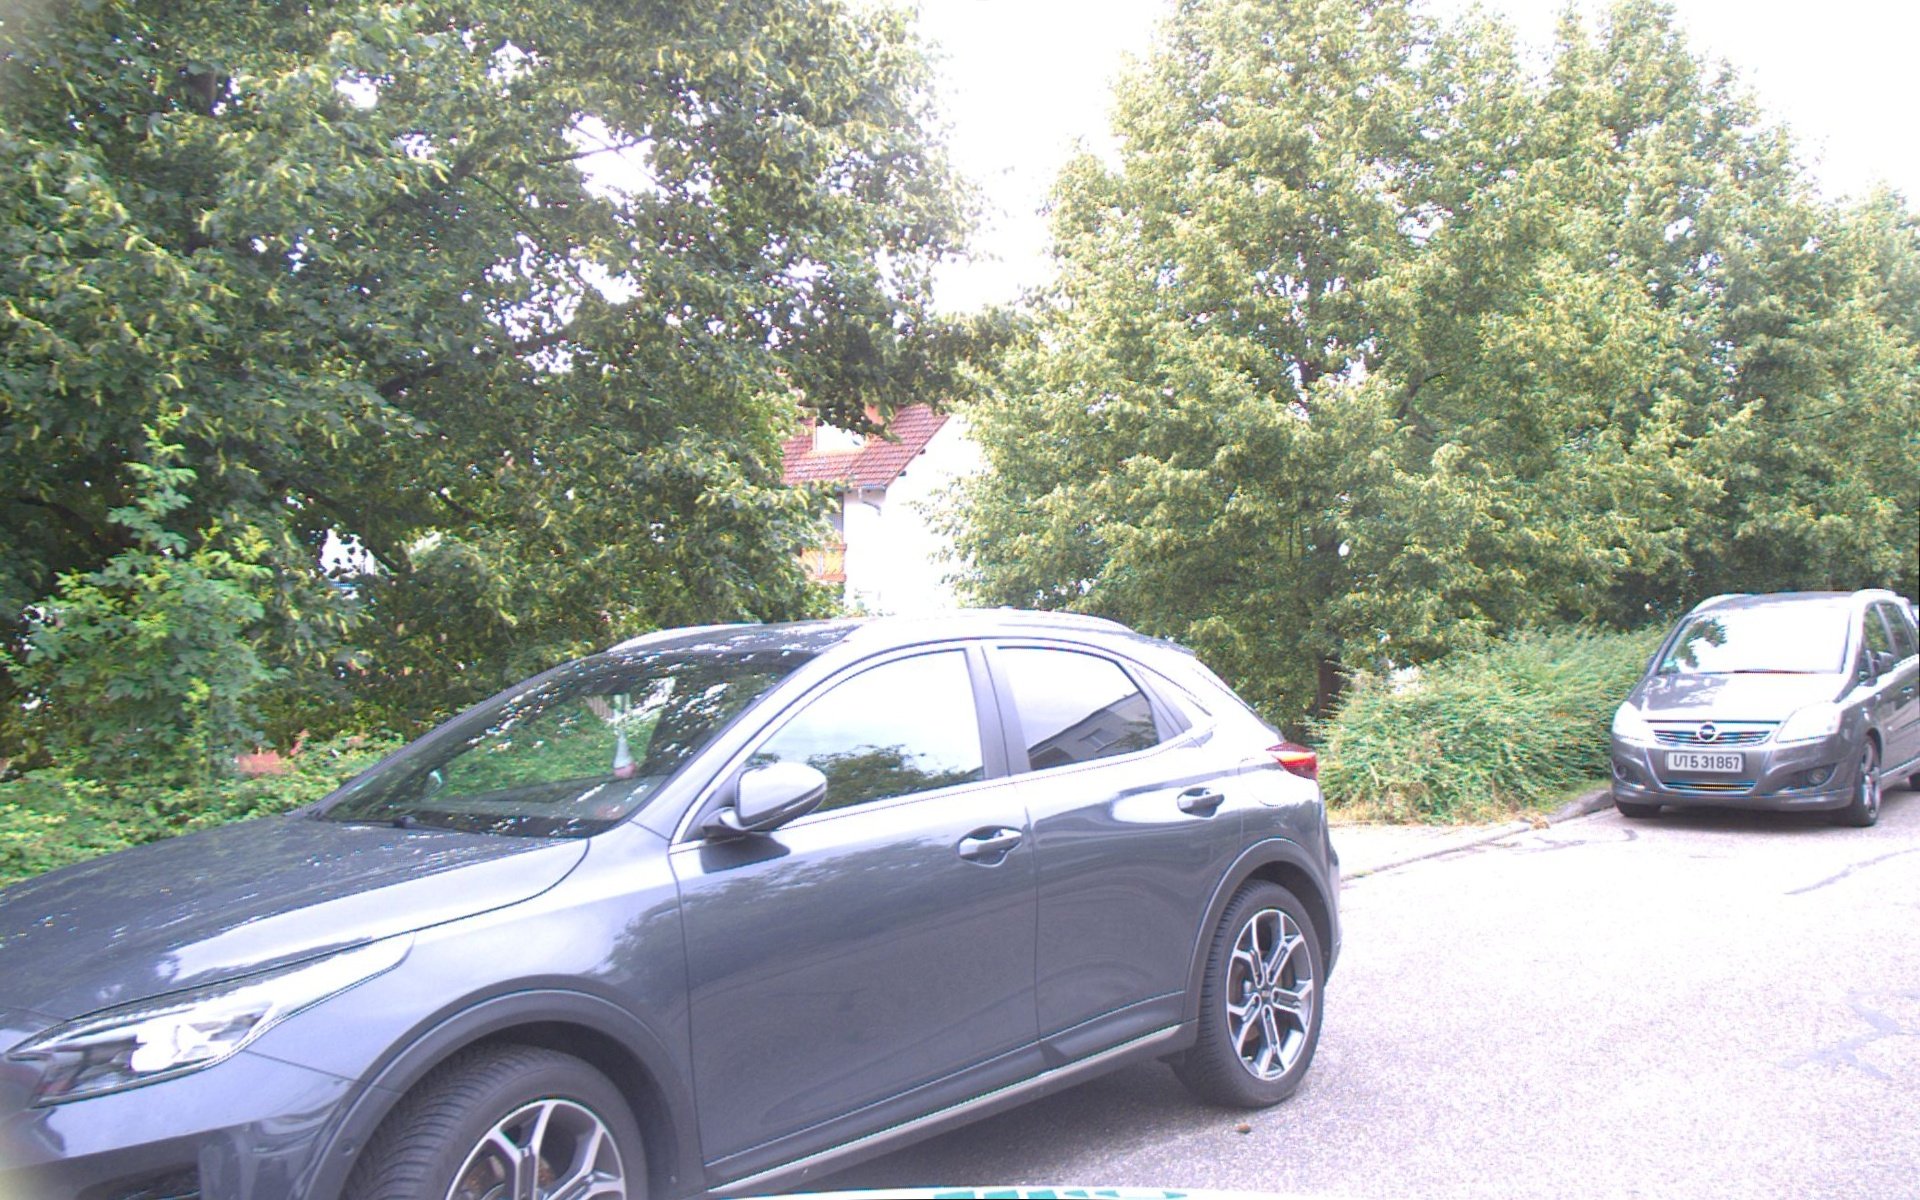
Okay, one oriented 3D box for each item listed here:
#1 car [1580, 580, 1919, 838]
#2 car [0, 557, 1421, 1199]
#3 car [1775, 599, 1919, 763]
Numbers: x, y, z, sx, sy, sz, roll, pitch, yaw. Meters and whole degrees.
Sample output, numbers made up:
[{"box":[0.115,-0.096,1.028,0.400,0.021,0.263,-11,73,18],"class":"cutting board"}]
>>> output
[{"box":[6.483,0.715,12.732,1.730,1.621,4.528,-3,-2,40],"class":"car"},{"box":[-0.547,0.742,4.444,1.716,1.558,4.169,-3,-2,42],"class":"car"},{"box":[10.022,0.746,17.037,1.732,1.504,4.278,-3,-2,43],"class":"car"}]
